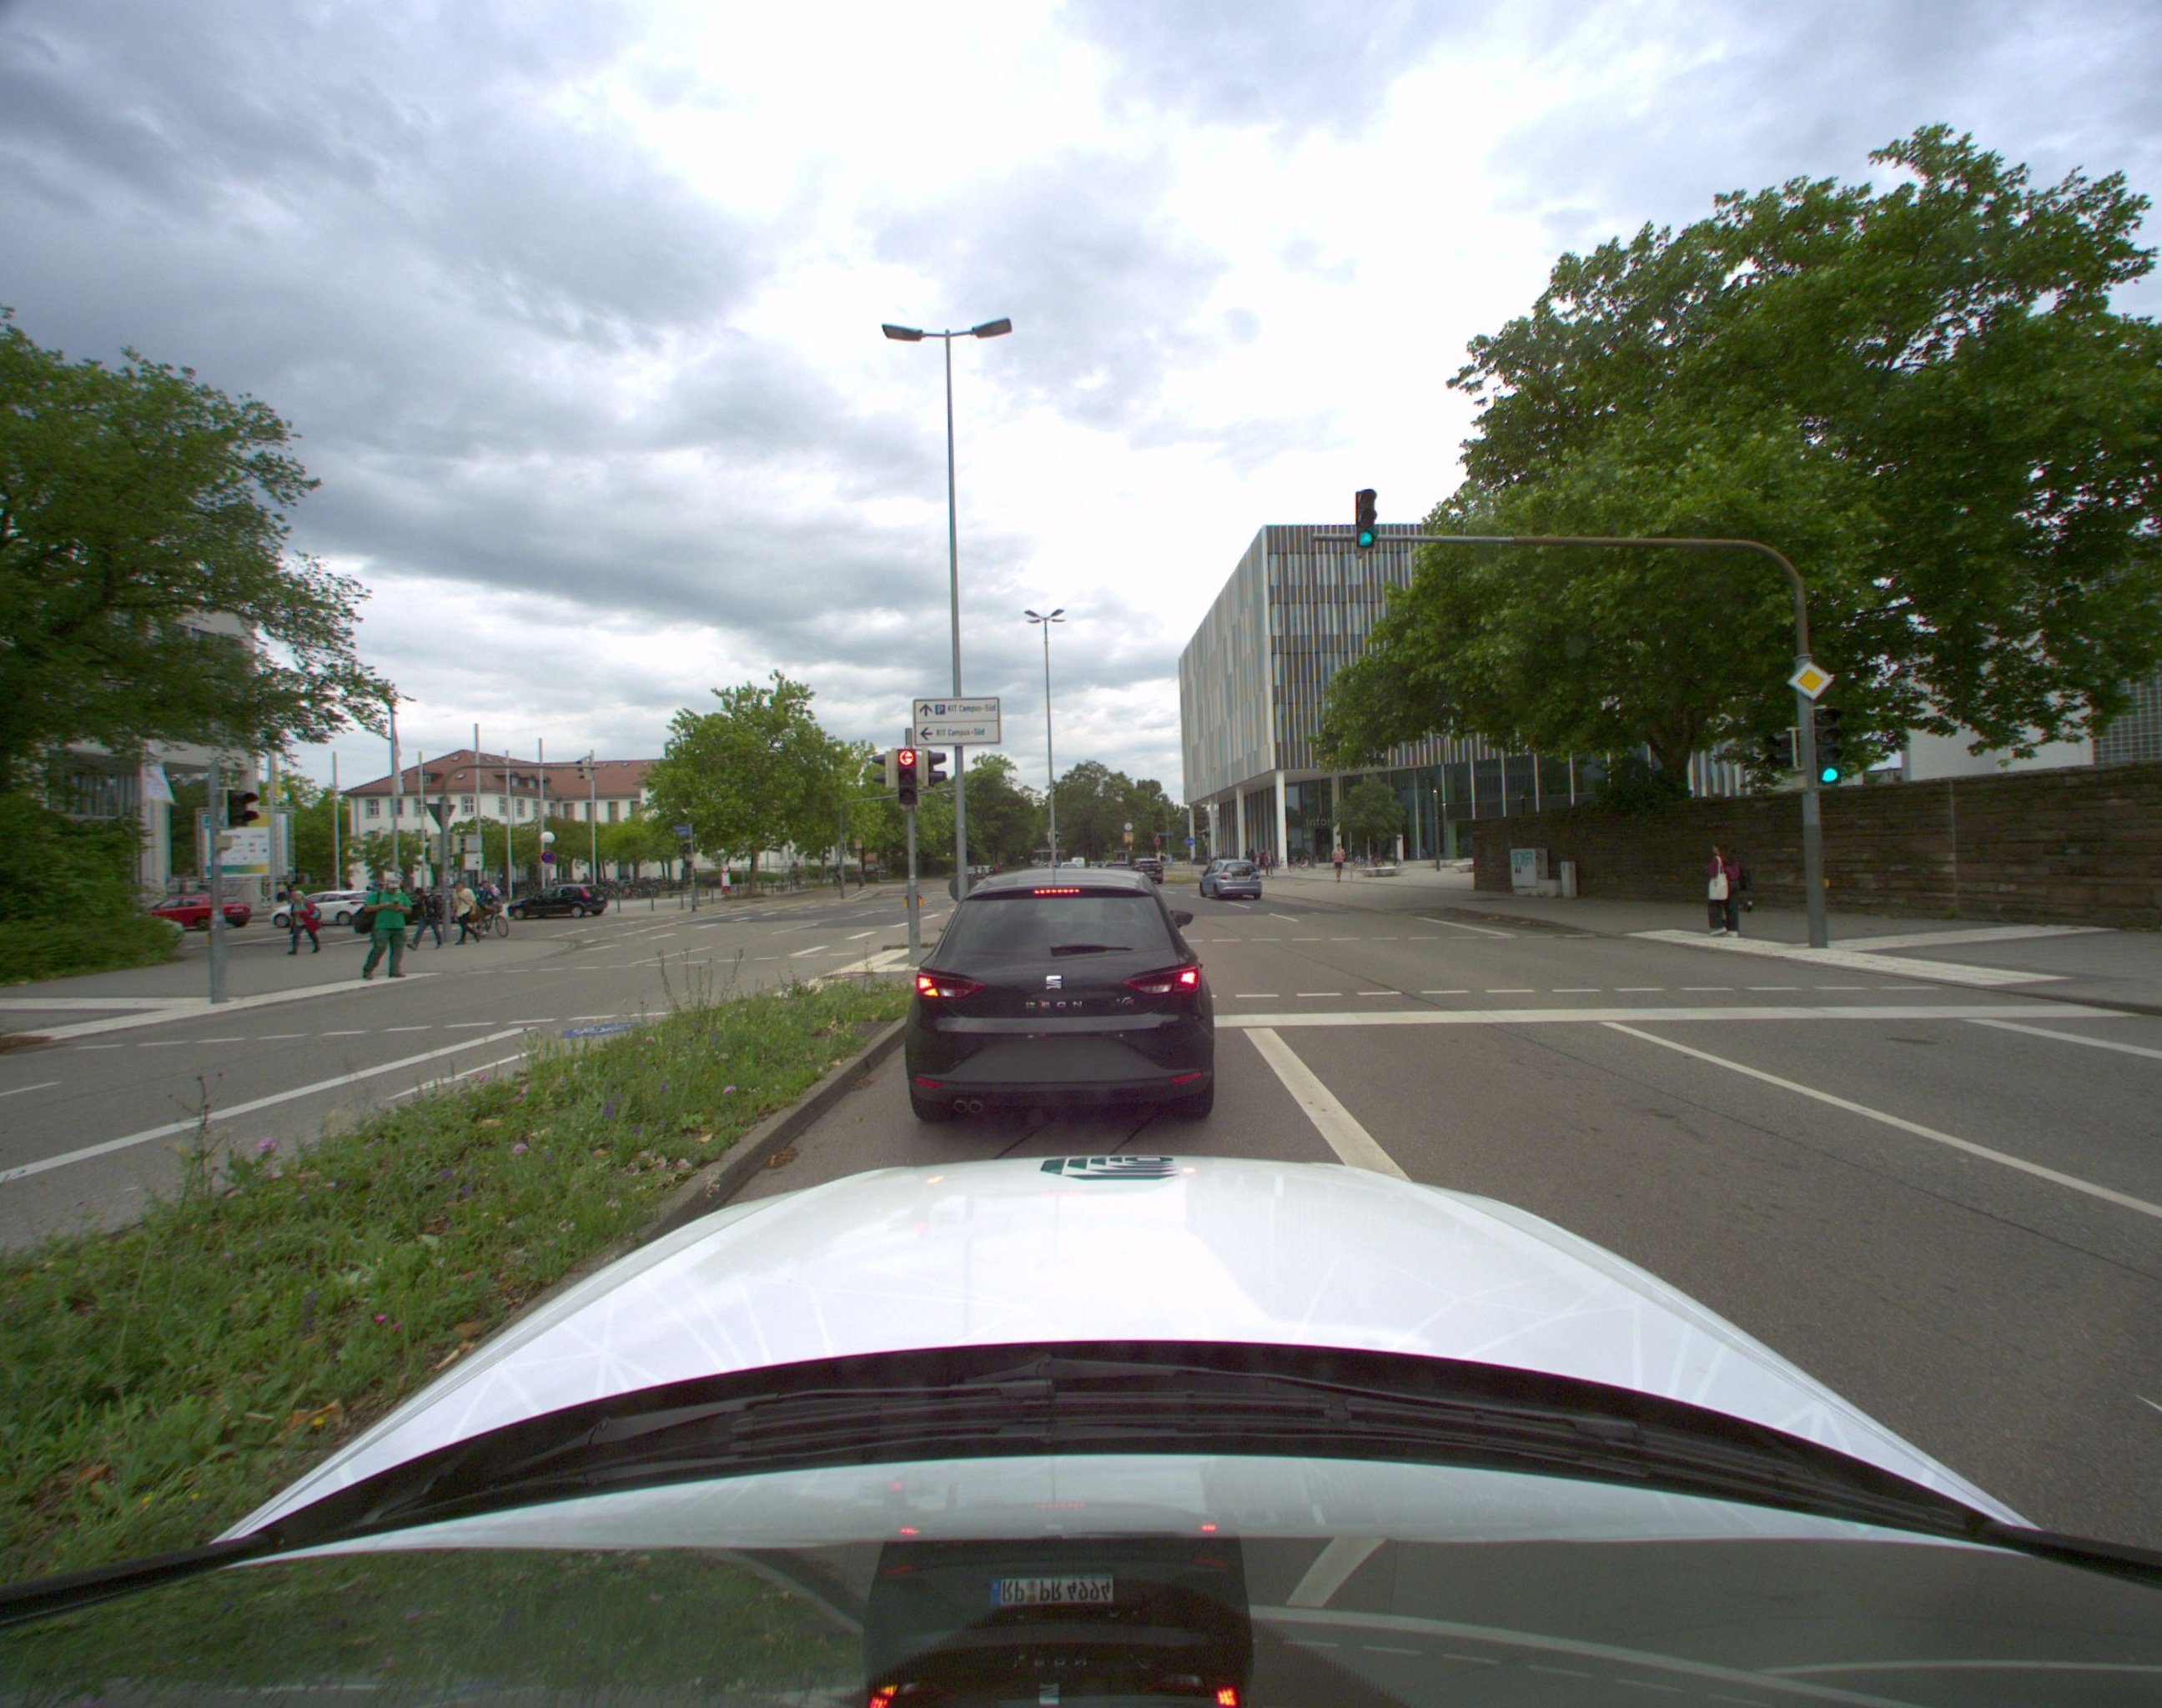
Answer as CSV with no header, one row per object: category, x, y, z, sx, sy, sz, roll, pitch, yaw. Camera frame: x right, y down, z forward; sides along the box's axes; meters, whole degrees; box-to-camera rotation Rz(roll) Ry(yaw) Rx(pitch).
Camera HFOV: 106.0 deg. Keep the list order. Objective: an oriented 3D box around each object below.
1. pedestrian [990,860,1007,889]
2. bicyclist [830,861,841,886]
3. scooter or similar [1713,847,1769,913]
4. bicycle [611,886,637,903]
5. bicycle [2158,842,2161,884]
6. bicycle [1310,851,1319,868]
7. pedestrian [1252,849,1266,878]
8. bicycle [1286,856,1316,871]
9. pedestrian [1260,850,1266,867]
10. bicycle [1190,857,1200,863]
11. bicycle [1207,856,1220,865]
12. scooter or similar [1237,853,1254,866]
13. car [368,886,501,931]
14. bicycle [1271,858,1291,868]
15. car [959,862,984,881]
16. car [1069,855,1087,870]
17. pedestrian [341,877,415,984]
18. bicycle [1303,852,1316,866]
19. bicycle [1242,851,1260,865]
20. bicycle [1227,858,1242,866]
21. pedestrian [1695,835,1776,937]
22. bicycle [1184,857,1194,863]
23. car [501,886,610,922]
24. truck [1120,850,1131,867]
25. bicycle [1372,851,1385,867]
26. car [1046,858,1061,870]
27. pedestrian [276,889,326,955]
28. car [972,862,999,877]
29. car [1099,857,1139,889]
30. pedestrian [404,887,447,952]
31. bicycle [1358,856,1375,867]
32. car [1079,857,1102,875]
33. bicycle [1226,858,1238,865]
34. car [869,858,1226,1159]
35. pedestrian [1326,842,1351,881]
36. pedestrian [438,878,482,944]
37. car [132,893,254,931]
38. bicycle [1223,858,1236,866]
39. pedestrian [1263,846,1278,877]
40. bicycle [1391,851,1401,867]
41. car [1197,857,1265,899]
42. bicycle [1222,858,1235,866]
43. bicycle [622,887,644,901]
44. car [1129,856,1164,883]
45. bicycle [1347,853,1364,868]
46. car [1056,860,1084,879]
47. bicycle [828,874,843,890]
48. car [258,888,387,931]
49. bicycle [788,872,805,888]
pedestrian,-4.750,1.173,46.812,0.873,1.586,0.542,-3,0,-5
bicyclist,-16.128,1.293,53.517,0.489,1.624,0.588,0,1,1
scooter or similar,13.083,0.493,16.174,0.428,1.179,1.714,-4,0,26
bicycle,-31.085,2.736,55.429,1.405,1.052,0.585,-4,0,-19
bicycle,13.546,0.408,8.916,0.801,1.174,1.952,-5,0,-3
bicycle,18.402,0.406,64.113,0.522,1.253,1.674,-3,0,20
pedestrian,10.329,0.543,47.365,0.684,1.640,0.633,-1,0,1
bicycle,15.105,0.643,55.987,1.892,0.898,0.693,-4,0,-20
pedestrian,15.314,0.366,68.517,0.469,1.361,0.447,-3,0,12
bicycle,14.952,0.767,106.693,1.239,0.823,0.479,0,-1,-21
bicycle,14.936,0.756,91.677,1.379,0.942,0.489,-3,0,8
scooter or similar,15.790,0.552,78.102,1.682,1.106,0.494,-4,0,-30
car,-27.702,2.304,35.047,4.059,1.452,1.615,-3,5,-16
bicycle,17.062,0.728,69.430,1.475,0.748,0.566,-4,0,-2
car,-11.672,1.838,86.735,1.899,1.717,4.002,-3,0,2
car,-0.412,1.063,108.970,1.965,1.972,4.332,0,0,-7
pedestrian,-12.315,1.299,14.275,0.948,1.759,0.865,0,-2,-42
bicycle,18.790,0.440,66.898,0.614,1.045,1.716,-3,0,28
bicycle,16.175,0.413,77.516,1.785,1.211,0.564,-4,0,-32
bicycle,15.833,0.825,83.986,1.368,0.705,0.416,-4,0,4
pedestrian,10.597,0.507,13.209,0.657,1.561,0.636,-6,0,1
bicycle,14.380,0.806,108.696,1.262,0.848,0.479,1,-2,-21
car,-23.134,2.193,35.961,3.649,1.223,1.562,-1,7,-5
truck,6.125,0.616,112.701,1.313,2.243,3.403,-3,0,2
bicycle,21.657,0.383,59.241,0.802,1.056,1.959,-3,0,21
car,-3.440,1.290,102.398,1.719,1.414,4.239,-1,0,-4
pedestrian,-18.864,1.636,19.714,0.572,1.527,0.842,-2,-5,-22
car,-11.323,1.849,96.751,1.746,1.587,4.016,-3,0,15
car,1.918,0.946,42.092,1.877,1.600,4.447,0,0,0
pedestrian,-16.312,1.631,20.279,0.796,1.558,0.691,1,-5,-42
bicycle,21.140,0.534,60.255,1.535,0.716,0.513,-4,0,-42
car,0.898,1.117,73.846,1.817,1.551,4.531,0,-1,4
bicycle,16.207,0.799,87.350,1.266,0.705,0.486,-3,0,8
car,-0.035,0.768,5.876,1.745,1.432,3.773,-1,0,4
pedestrian,12.012,0.346,38.023,0.844,1.765,0.768,-3,0,1
pedestrian,-17.125,1.566,22.480,0.845,1.740,0.823,-1,-5,-29
car,-38.129,2.482,35.039,3.341,1.479,1.559,-1,0,-5
bicycle,15.628,0.858,85.789,1.366,0.705,0.490,-3,0,10
pedestrian,11.022,0.413,47.377,0.684,1.781,0.677,-2,0,1
bicycle,22.533,0.324,58.294,0.616,1.056,1.959,-3,0,21
car,5.677,0.886,31.164,1.663,1.466,3.654,-1,0,-4
bicycle,15.705,0.843,86.680,1.232,0.705,0.490,-3,0,10
bicycle,-30.906,2.780,56.190,1.211,0.880,0.262,-4,0,-22
car,4.185,0.977,52.544,1.900,1.624,4.491,-1,0,1
bicycle,20.509,0.475,60.838,0.688,0.946,1.997,-3,0,32
car,-0.948,1.232,66.198,1.781,1.463,3.859,-1,0,-9
bicycle,-16.122,1.833,53.530,0.486,1.005,1.590,-1,1,2
car,-33.055,2.393,35.567,3.868,1.539,1.684,-2,2,-2
bicycle,-20.983,1.934,60.154,0.606,1.060,2.041,-3,0,-4
